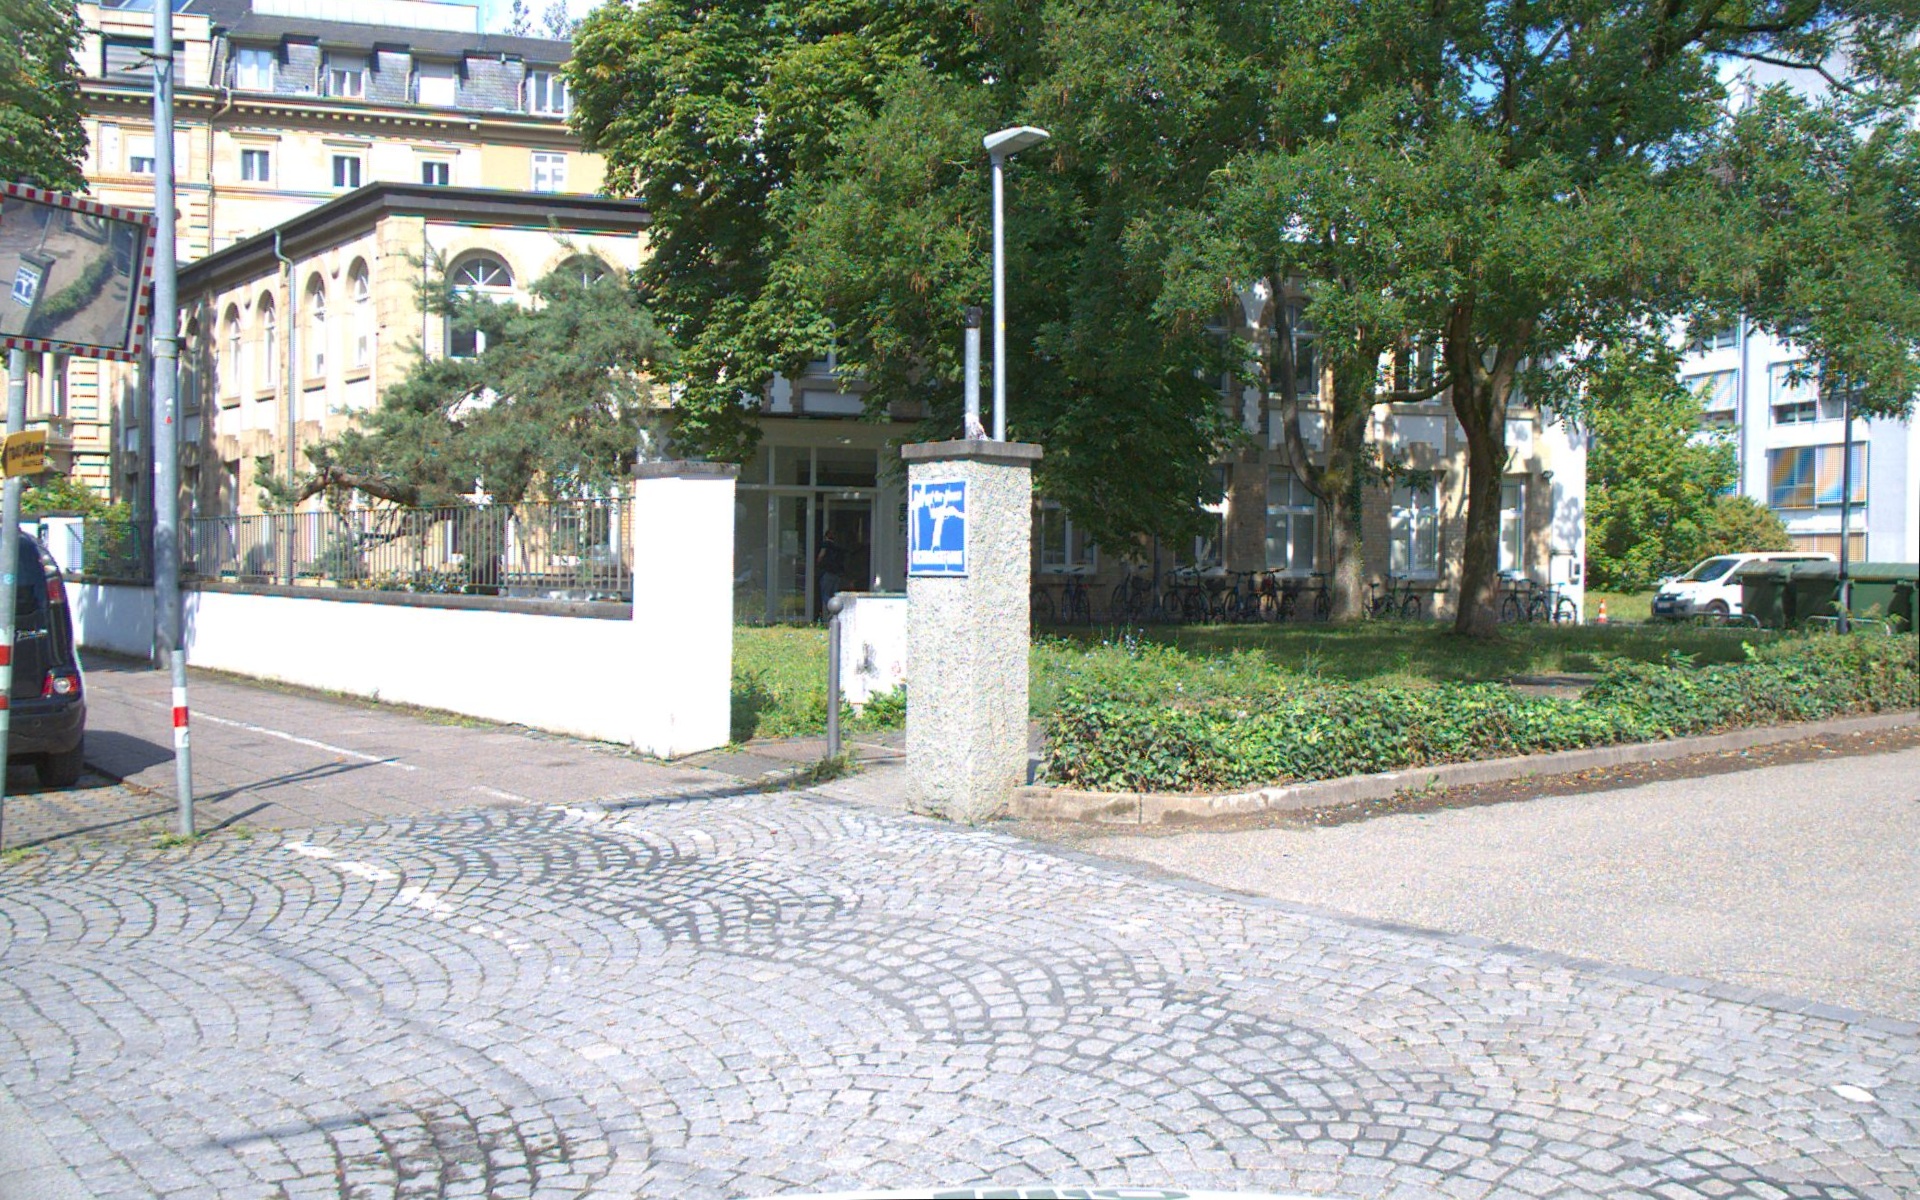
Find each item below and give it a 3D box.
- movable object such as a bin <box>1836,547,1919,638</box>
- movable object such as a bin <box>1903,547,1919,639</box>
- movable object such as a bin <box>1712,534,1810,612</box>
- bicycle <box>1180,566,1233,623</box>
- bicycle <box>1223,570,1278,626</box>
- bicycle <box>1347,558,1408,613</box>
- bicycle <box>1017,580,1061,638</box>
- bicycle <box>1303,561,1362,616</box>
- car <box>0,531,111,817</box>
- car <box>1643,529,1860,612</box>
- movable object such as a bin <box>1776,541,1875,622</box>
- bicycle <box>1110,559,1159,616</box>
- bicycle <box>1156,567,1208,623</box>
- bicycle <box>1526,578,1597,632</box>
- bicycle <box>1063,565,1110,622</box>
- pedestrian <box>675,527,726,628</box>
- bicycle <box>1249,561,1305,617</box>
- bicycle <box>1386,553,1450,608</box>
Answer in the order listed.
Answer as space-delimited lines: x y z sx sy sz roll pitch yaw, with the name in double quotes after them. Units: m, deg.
15.619 -0.109 27.900 0.864 1.477 1.227 2 -1 -19 "movable object such as a bin"
16.096 -0.095 26.496 1.083 1.477 1.336 2 -1 -19 "movable object such as a bin"
14.729 -0.484 30.439 0.929 1.373 1.374 2 -1 -19 "movable object such as a bin"
4.902 -0.100 32.956 0.411 1.075 2.062 -2 0 -9 "bicycle"
5.777 -0.027 32.965 0.411 1.075 2.062 -2 0 -9 "bicycle"
8.476 -0.277 33.639 0.411 1.075 2.063 2 -1 -9 "bicycle"
1.502 0.171 31.869 0.411 1.075 2.062 -2 0 -9 "bicycle"
7.525 -0.216 33.490 0.411 1.075 2.062 -2 0 -9 "bicycle"
-6.827 0.380 10.643 1.664 1.639 3.532 -1 2 -40 "car"
20.499 -0.726 42.908 4.851 1.999 1.994 0 -3 -12 "car"
15.240 -0.316 29.150 0.929 1.373 1.227 2 -1 -19 "movable object such as a bin"
3.413 -0.223 32.489 0.411 1.075 2.062 -2 0 -9 "bicycle"
4.400 -0.088 32.882 0.411 1.075 2.062 -2 0 -9 "bicycle"
12.526 0.110 34.496 0.411 1.075 2.062 -2 0 -9 "bicycle"
2.450 -0.117 32.211 0.411 1.075 2.062 -2 0 -9 "bicycle"
-4.543 -0.385 28.947 0.757 1.707 0.806 2 -1 -14 "pedestrian"
6.360 -0.201 33.281 0.411 1.075 2.062 -2 0 -9 "bicycle"
9.296 -0.378 33.642 0.411 1.075 2.063 2 -1 -9 "bicycle"
